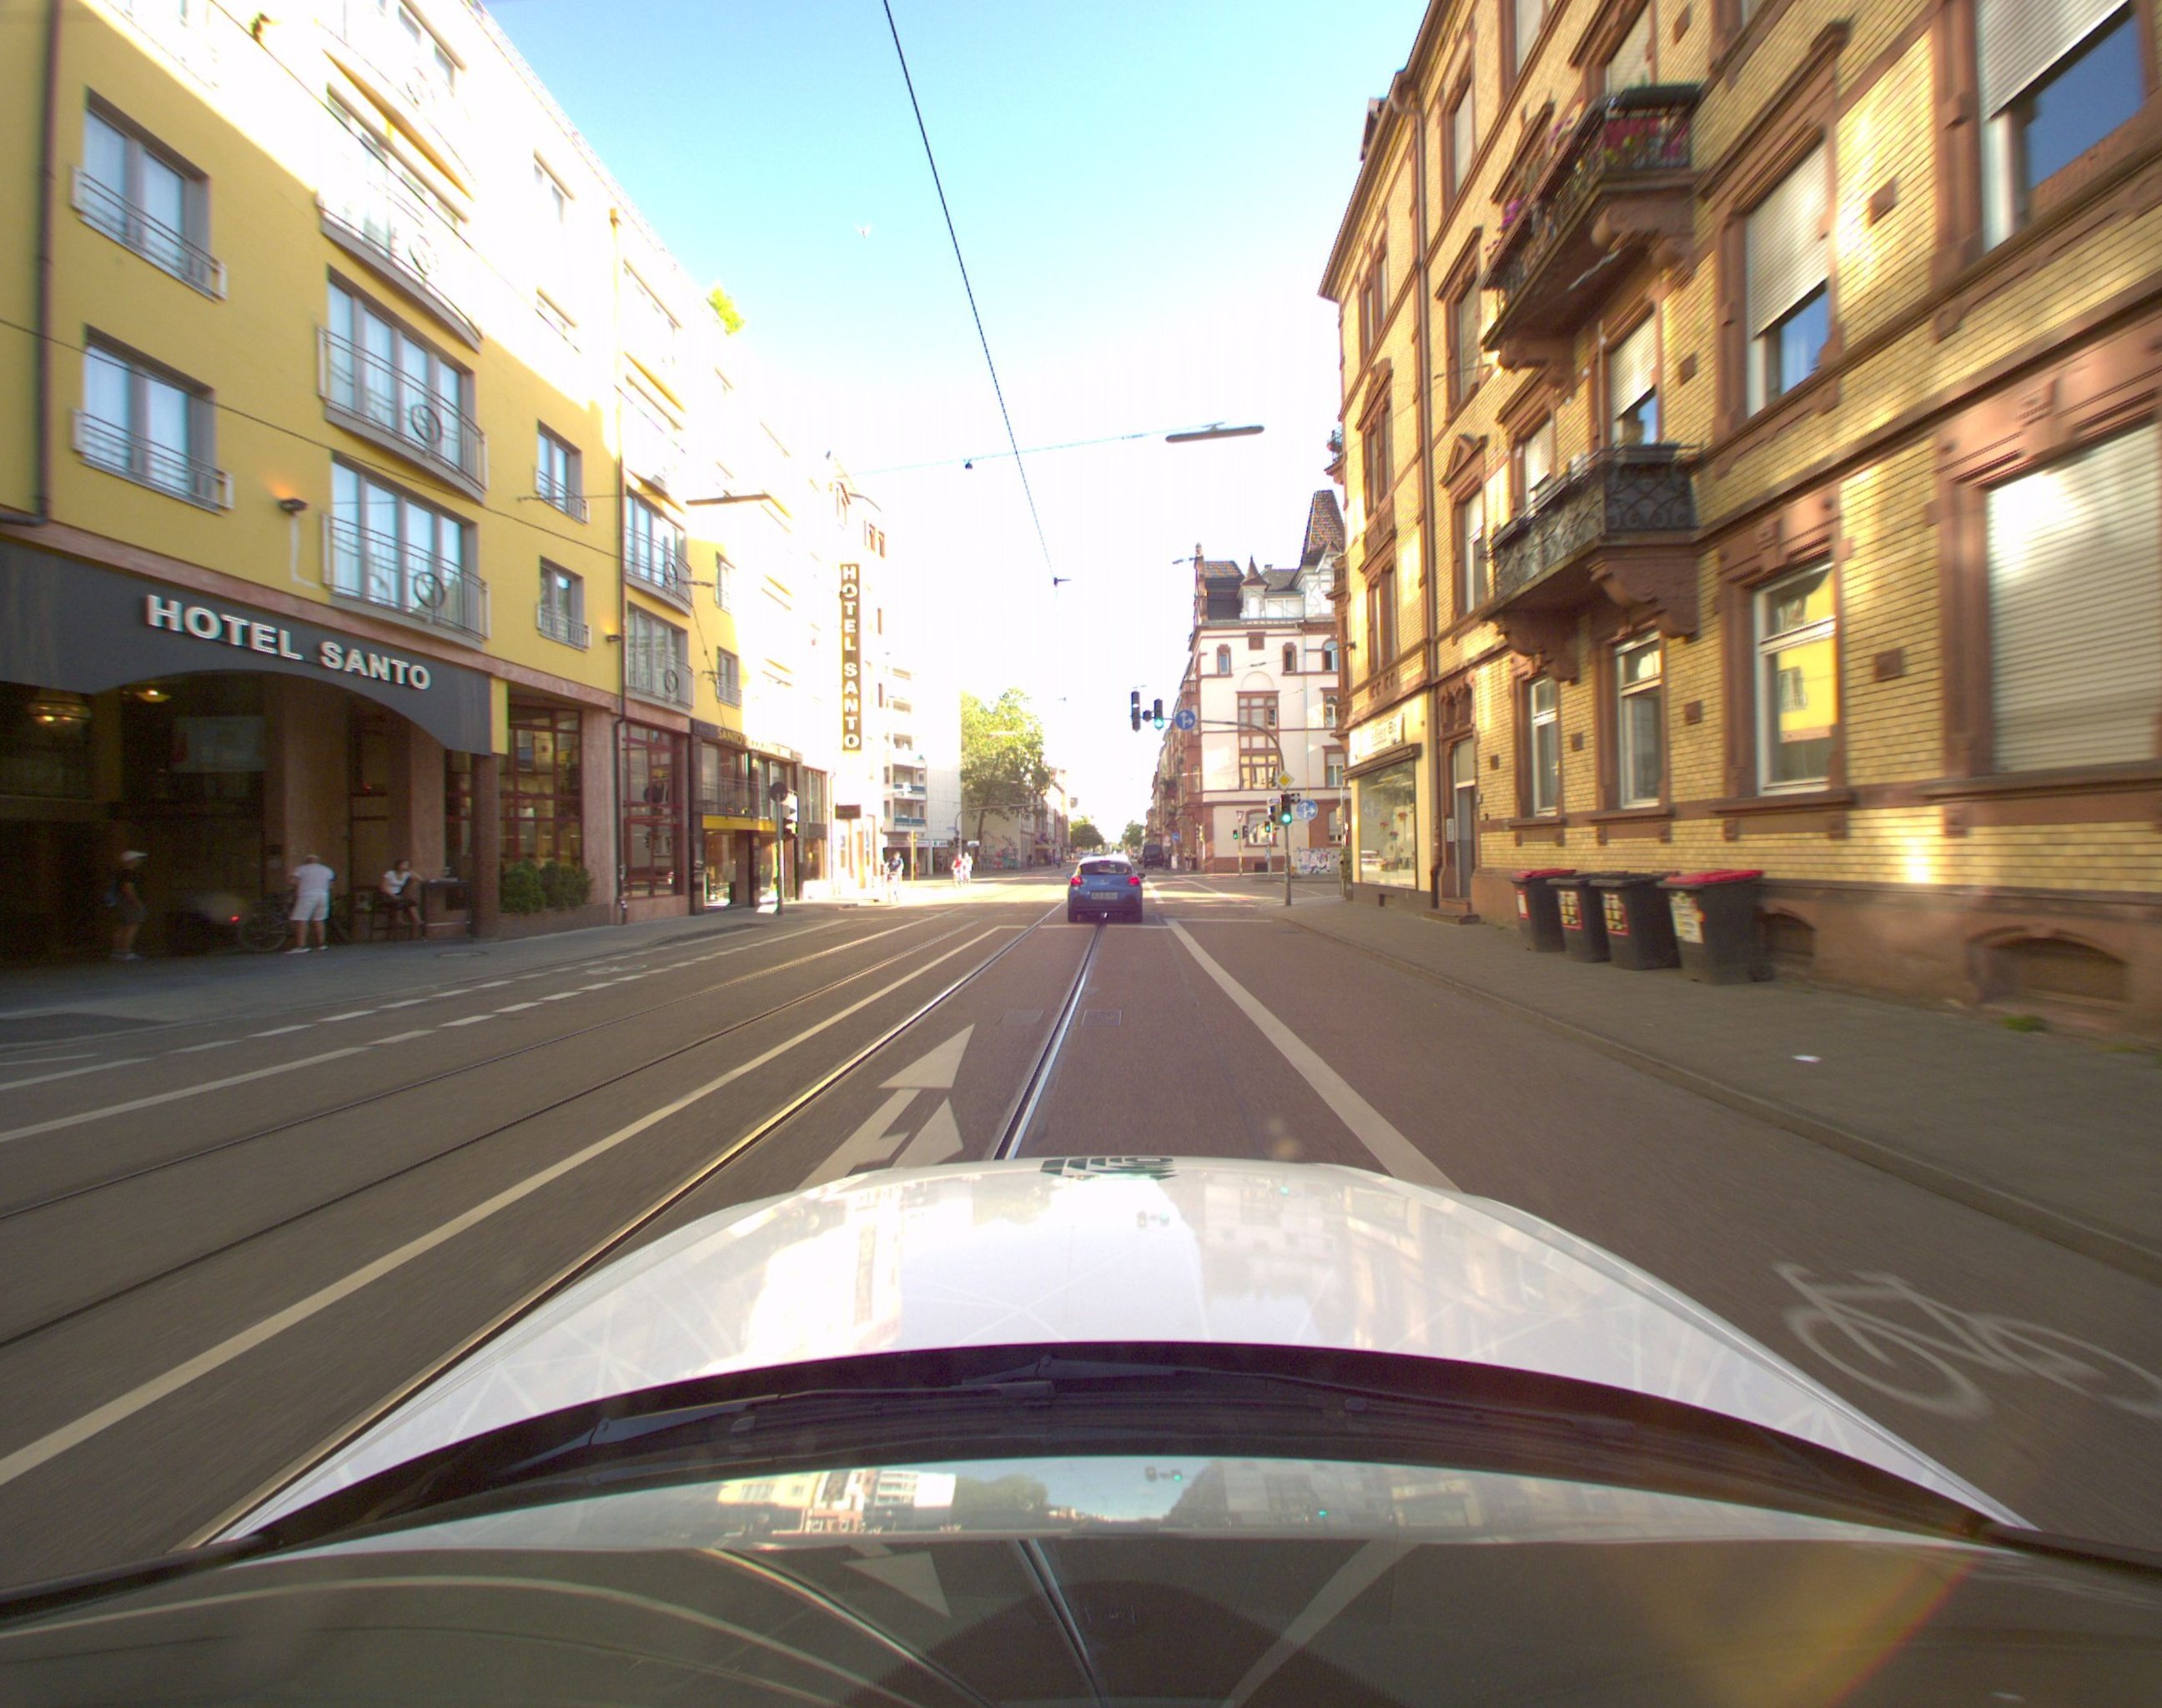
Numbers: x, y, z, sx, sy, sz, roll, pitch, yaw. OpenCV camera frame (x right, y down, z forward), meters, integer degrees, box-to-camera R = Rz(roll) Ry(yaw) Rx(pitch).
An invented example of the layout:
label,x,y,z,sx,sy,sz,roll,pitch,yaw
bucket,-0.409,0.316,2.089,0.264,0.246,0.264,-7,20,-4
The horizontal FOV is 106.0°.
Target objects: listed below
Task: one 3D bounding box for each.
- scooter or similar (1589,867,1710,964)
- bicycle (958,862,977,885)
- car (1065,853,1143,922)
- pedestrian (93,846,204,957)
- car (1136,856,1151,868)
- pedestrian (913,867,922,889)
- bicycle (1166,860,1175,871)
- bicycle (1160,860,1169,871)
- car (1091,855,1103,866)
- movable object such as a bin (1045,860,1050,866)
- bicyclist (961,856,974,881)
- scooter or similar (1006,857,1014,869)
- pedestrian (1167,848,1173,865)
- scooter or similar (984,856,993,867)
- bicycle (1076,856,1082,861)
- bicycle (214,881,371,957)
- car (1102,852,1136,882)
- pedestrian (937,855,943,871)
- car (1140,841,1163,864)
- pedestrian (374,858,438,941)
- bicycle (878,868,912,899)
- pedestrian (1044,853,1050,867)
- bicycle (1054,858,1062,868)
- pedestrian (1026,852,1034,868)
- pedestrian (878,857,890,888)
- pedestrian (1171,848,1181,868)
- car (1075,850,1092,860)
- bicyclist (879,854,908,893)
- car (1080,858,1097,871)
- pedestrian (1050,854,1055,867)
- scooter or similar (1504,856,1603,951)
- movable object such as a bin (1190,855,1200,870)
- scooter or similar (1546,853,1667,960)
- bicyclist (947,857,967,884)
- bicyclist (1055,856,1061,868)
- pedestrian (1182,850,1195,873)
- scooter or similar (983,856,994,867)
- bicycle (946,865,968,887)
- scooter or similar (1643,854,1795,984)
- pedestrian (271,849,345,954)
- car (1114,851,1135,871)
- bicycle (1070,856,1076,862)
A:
label,x,y,z,sx,sy,sz,roll,pitch,yaw
scooter or similar,6.297,0.666,9.057,0.787,0.957,0.680,-5,-1,1
bicycle,-6.323,1.077,45.445,0.728,1.183,2.062,-1,0,1
car,0.516,0.735,19.826,1.668,1.477,4.000,-1,0,0
pedestrian,-15.472,0.761,13.534,0.703,1.770,0.958,-1,0,7
car,8.989,1.188,118.226,1.997,1.672,4.809,-2,0,3
pedestrian,-11.652,1.685,58.094,0.540,1.552,0.516,-1,-1,1
bicycle,7.729,0.986,70.537,0.430,0.947,1.761,-1,0,-4
bicycle,7.239,0.990,70.483,0.430,0.947,1.761,-1,0,-4
car,2.737,1.115,141.020,1.986,1.744,4.564,-1,0,2
movable object such as a bin,-4.618,1.236,112.363,0.608,0.914,0.695,-2,0,2
bicyclist,-6.339,0.825,45.609,0.588,1.376,0.679,-1,-1,1
scooter or similar,-7.981,0.983,91.322,0.785,1.271,1.075,1,1,1
pedestrian,10.399,0.267,95.144,0.583,2.013,0.823,-1,0,1
scooter or similar,-10.392,0.801,91.534,0.937,1.222,0.765,-1,0,-10
bicycle,-0.511,1.050,182.900,1.118,1.146,3.640,-2,0,-3
bicycle,-13.958,1.111,14.520,0.578,1.203,2.085,-1,-1,7
car,1.977,0.674,43.224,1.661,1.478,4.001,-2,0,2
pedestrian,-15.597,0.974,90.051,0.454,1.718,0.547,-2,-1,1
car,7.841,-0.151,90.883,2.262,2.437,5.723,-1,0,3
pedestrian,-12.945,0.851,15.626,0.701,1.547,0.602,-1,0,7
bicycle,-6.885,1.075,30.189,0.728,1.088,2.062,-1,0,1
pedestrian,-4.691,0.822,111.640,0.708,1.764,0.571,-2,-1,1
bicycle,-2.691,1.099,95.660,0.690,1.120,2.085,-1,0,2
pedestrian,-5.818,0.710,92.860,0.677,1.765,1.029,-1,0,13
pedestrian,-9.128,0.863,37.739,0.402,1.410,0.516,-1,0,1
pedestrian,8.243,0.334,70.620,0.625,1.701,0.681,-1,0,-6
car,0.616,0.301,231.588,4.327,2.581,2.192,-1,0,-23
bicyclist,-6.896,0.706,29.991,0.721,1.381,1.228,-1,-1,1
car,0.986,1.253,101.631,1.978,1.502,4.310,-1,0,2
pedestrian,-3.901,0.825,111.668,0.708,1.764,0.655,-2,-1,0
scooter or similar,6.249,0.640,10.797,0.894,1.148,0.547,-6,-1,1
movable object such as a bin,9.066,0.667,64.724,0.663,1.153,0.595,-1,0,3
scooter or similar,6.247,0.604,9.722,0.930,1.148,0.650,-5,-1,1
bicyclist,-6.501,0.856,42.746,0.733,1.381,1.469,-1,-1,1
bicyclist,-2.704,0.937,95.736,0.680,1.483,0.779,-1,0,2
pedestrian,8.764,0.617,66.472,0.703,1.781,0.673,-10,-1,1
scooter or similar,-10.219,0.831,90.009,1.228,1.258,0.765,-1,0,-10
bicycle,-6.493,1.143,42.716,0.728,1.065,2.062,-1,0,1
scooter or similar,6.270,0.614,8.055,0.787,1.148,0.790,-5,-1,1
pedestrian,-13.419,0.803,14.152,0.558,1.770,0.724,-1,-1,7
car,4.557,0.741,85.718,1.986,2.013,4.001,-2,0,2
bicycle,-1.880,1.120,183.016,1.118,1.319,3.640,-2,0,-3
